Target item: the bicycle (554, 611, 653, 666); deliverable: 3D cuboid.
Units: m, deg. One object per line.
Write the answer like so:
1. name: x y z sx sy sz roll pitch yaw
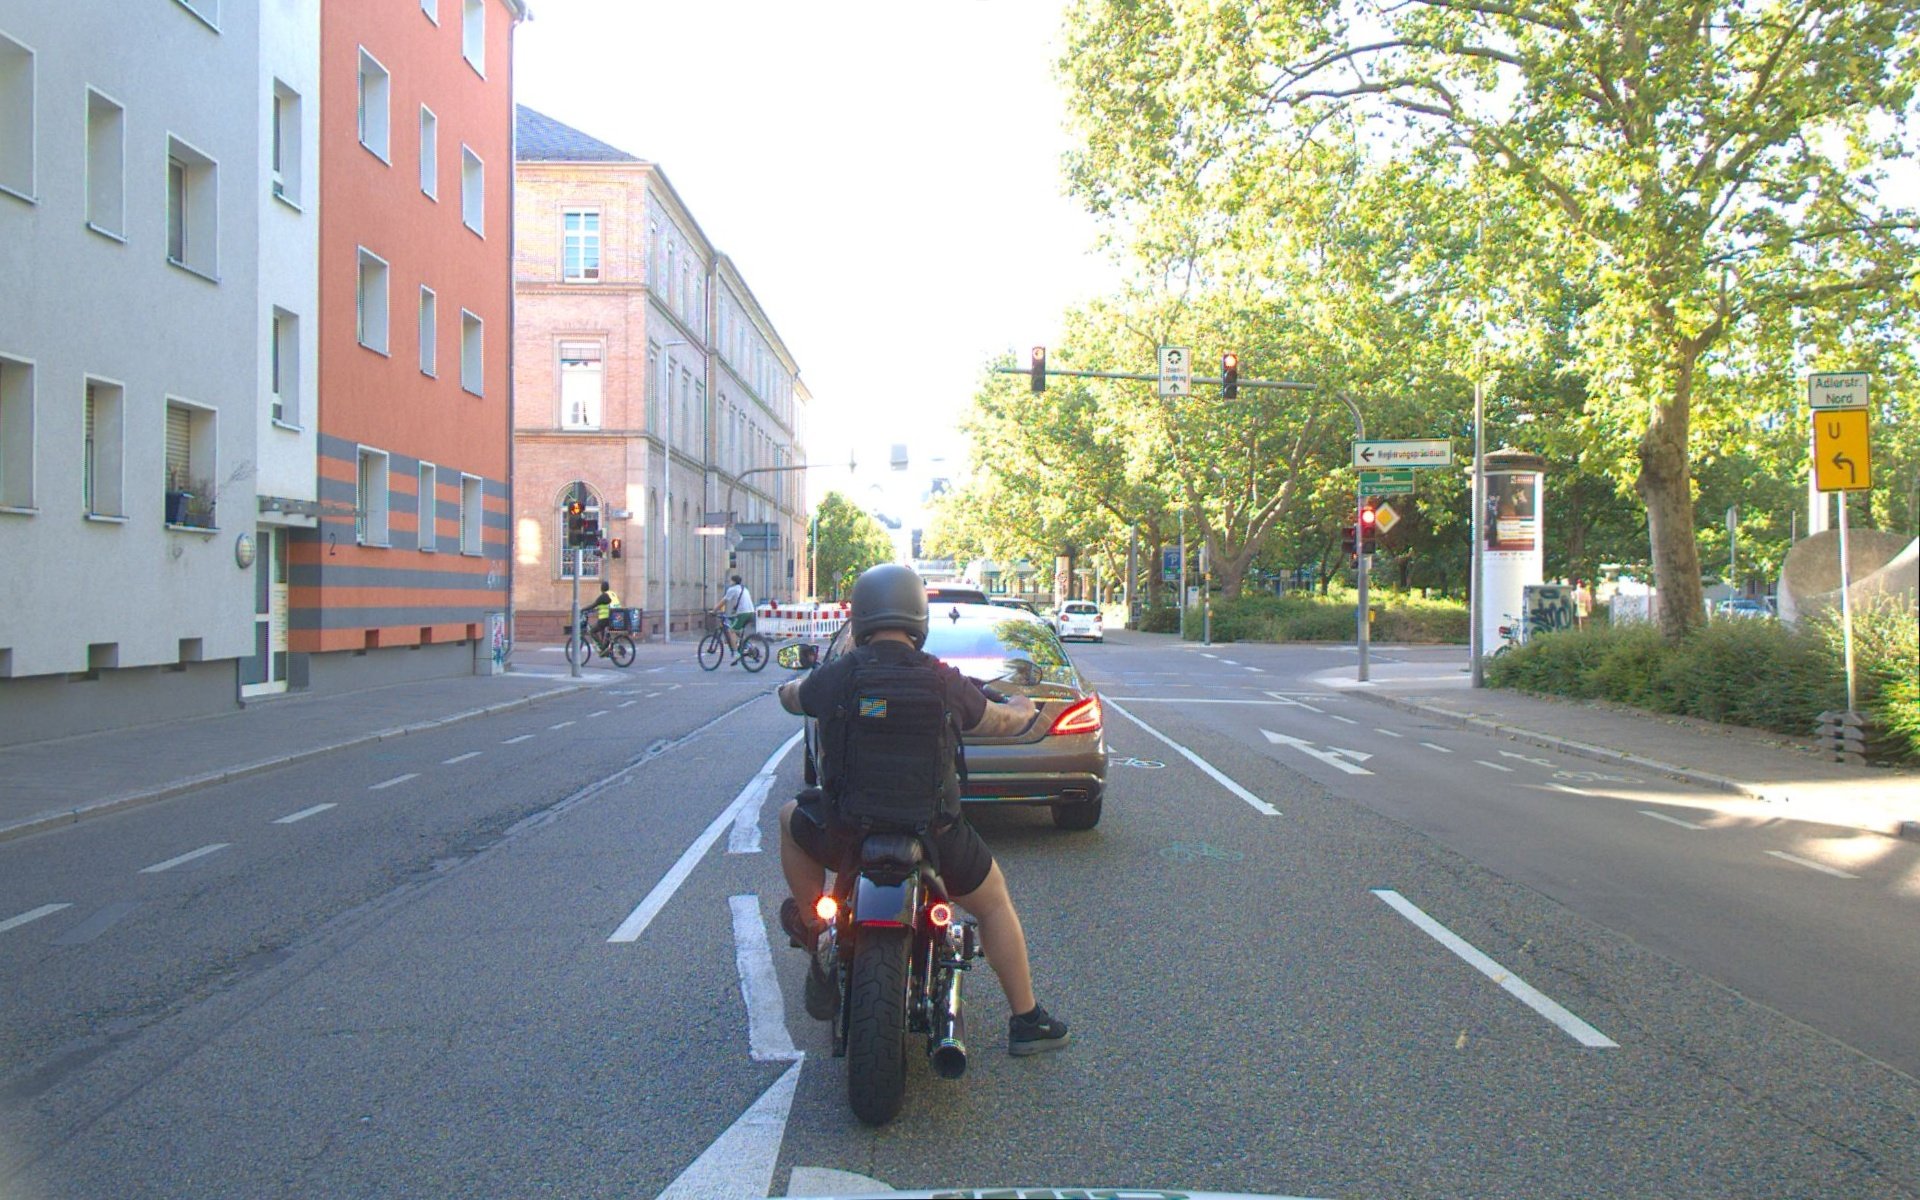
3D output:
1. bicycle: -7.569 0.812 35.094 2.115 1.123 0.704 -1 -1 28

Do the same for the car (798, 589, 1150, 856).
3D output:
1. car: -0.118 0.680 11.589 1.909 1.498 4.355 0 0 -7

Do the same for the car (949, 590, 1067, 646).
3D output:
1. car: 1.442 0.499 48.009 1.787 1.506 3.901 -1 0 30

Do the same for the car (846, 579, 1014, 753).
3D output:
1. car: -0.341 0.615 17.752 1.580 1.636 4.327 0 0 -2

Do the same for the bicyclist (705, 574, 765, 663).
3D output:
1. bicyclist: -4.417 0.355 32.438 0.945 1.722 0.703 0 0 34

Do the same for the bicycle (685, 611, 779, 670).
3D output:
1. bicycle: -4.492 0.783 32.497 1.840 1.123 0.703 0 0 34

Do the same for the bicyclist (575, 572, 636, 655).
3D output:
1. bicyclist: -7.511 0.283 35.051 1.024 1.724 0.704 -1 -1 28

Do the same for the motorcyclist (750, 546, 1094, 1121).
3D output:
1. motorcyclist: -0.117 0.659 5.394 0.969 1.625 1.403 0 0 -1

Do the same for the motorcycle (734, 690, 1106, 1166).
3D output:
1. motorcycle: -0.122 0.922 5.549 0.969 1.097 2.451 0 0 -1

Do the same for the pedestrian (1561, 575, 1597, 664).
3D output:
1. pedestrian: 13.179 0.418 35.205 0.540 1.881 0.593 0 0 0

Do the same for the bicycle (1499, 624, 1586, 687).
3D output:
1. bicycle: 9.736 0.922 27.663 1.324 1.041 0.363 0 0 0

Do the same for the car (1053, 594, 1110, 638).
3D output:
1. car: 4.416 0.569 59.717 1.816 1.512 3.911 1 0 7
